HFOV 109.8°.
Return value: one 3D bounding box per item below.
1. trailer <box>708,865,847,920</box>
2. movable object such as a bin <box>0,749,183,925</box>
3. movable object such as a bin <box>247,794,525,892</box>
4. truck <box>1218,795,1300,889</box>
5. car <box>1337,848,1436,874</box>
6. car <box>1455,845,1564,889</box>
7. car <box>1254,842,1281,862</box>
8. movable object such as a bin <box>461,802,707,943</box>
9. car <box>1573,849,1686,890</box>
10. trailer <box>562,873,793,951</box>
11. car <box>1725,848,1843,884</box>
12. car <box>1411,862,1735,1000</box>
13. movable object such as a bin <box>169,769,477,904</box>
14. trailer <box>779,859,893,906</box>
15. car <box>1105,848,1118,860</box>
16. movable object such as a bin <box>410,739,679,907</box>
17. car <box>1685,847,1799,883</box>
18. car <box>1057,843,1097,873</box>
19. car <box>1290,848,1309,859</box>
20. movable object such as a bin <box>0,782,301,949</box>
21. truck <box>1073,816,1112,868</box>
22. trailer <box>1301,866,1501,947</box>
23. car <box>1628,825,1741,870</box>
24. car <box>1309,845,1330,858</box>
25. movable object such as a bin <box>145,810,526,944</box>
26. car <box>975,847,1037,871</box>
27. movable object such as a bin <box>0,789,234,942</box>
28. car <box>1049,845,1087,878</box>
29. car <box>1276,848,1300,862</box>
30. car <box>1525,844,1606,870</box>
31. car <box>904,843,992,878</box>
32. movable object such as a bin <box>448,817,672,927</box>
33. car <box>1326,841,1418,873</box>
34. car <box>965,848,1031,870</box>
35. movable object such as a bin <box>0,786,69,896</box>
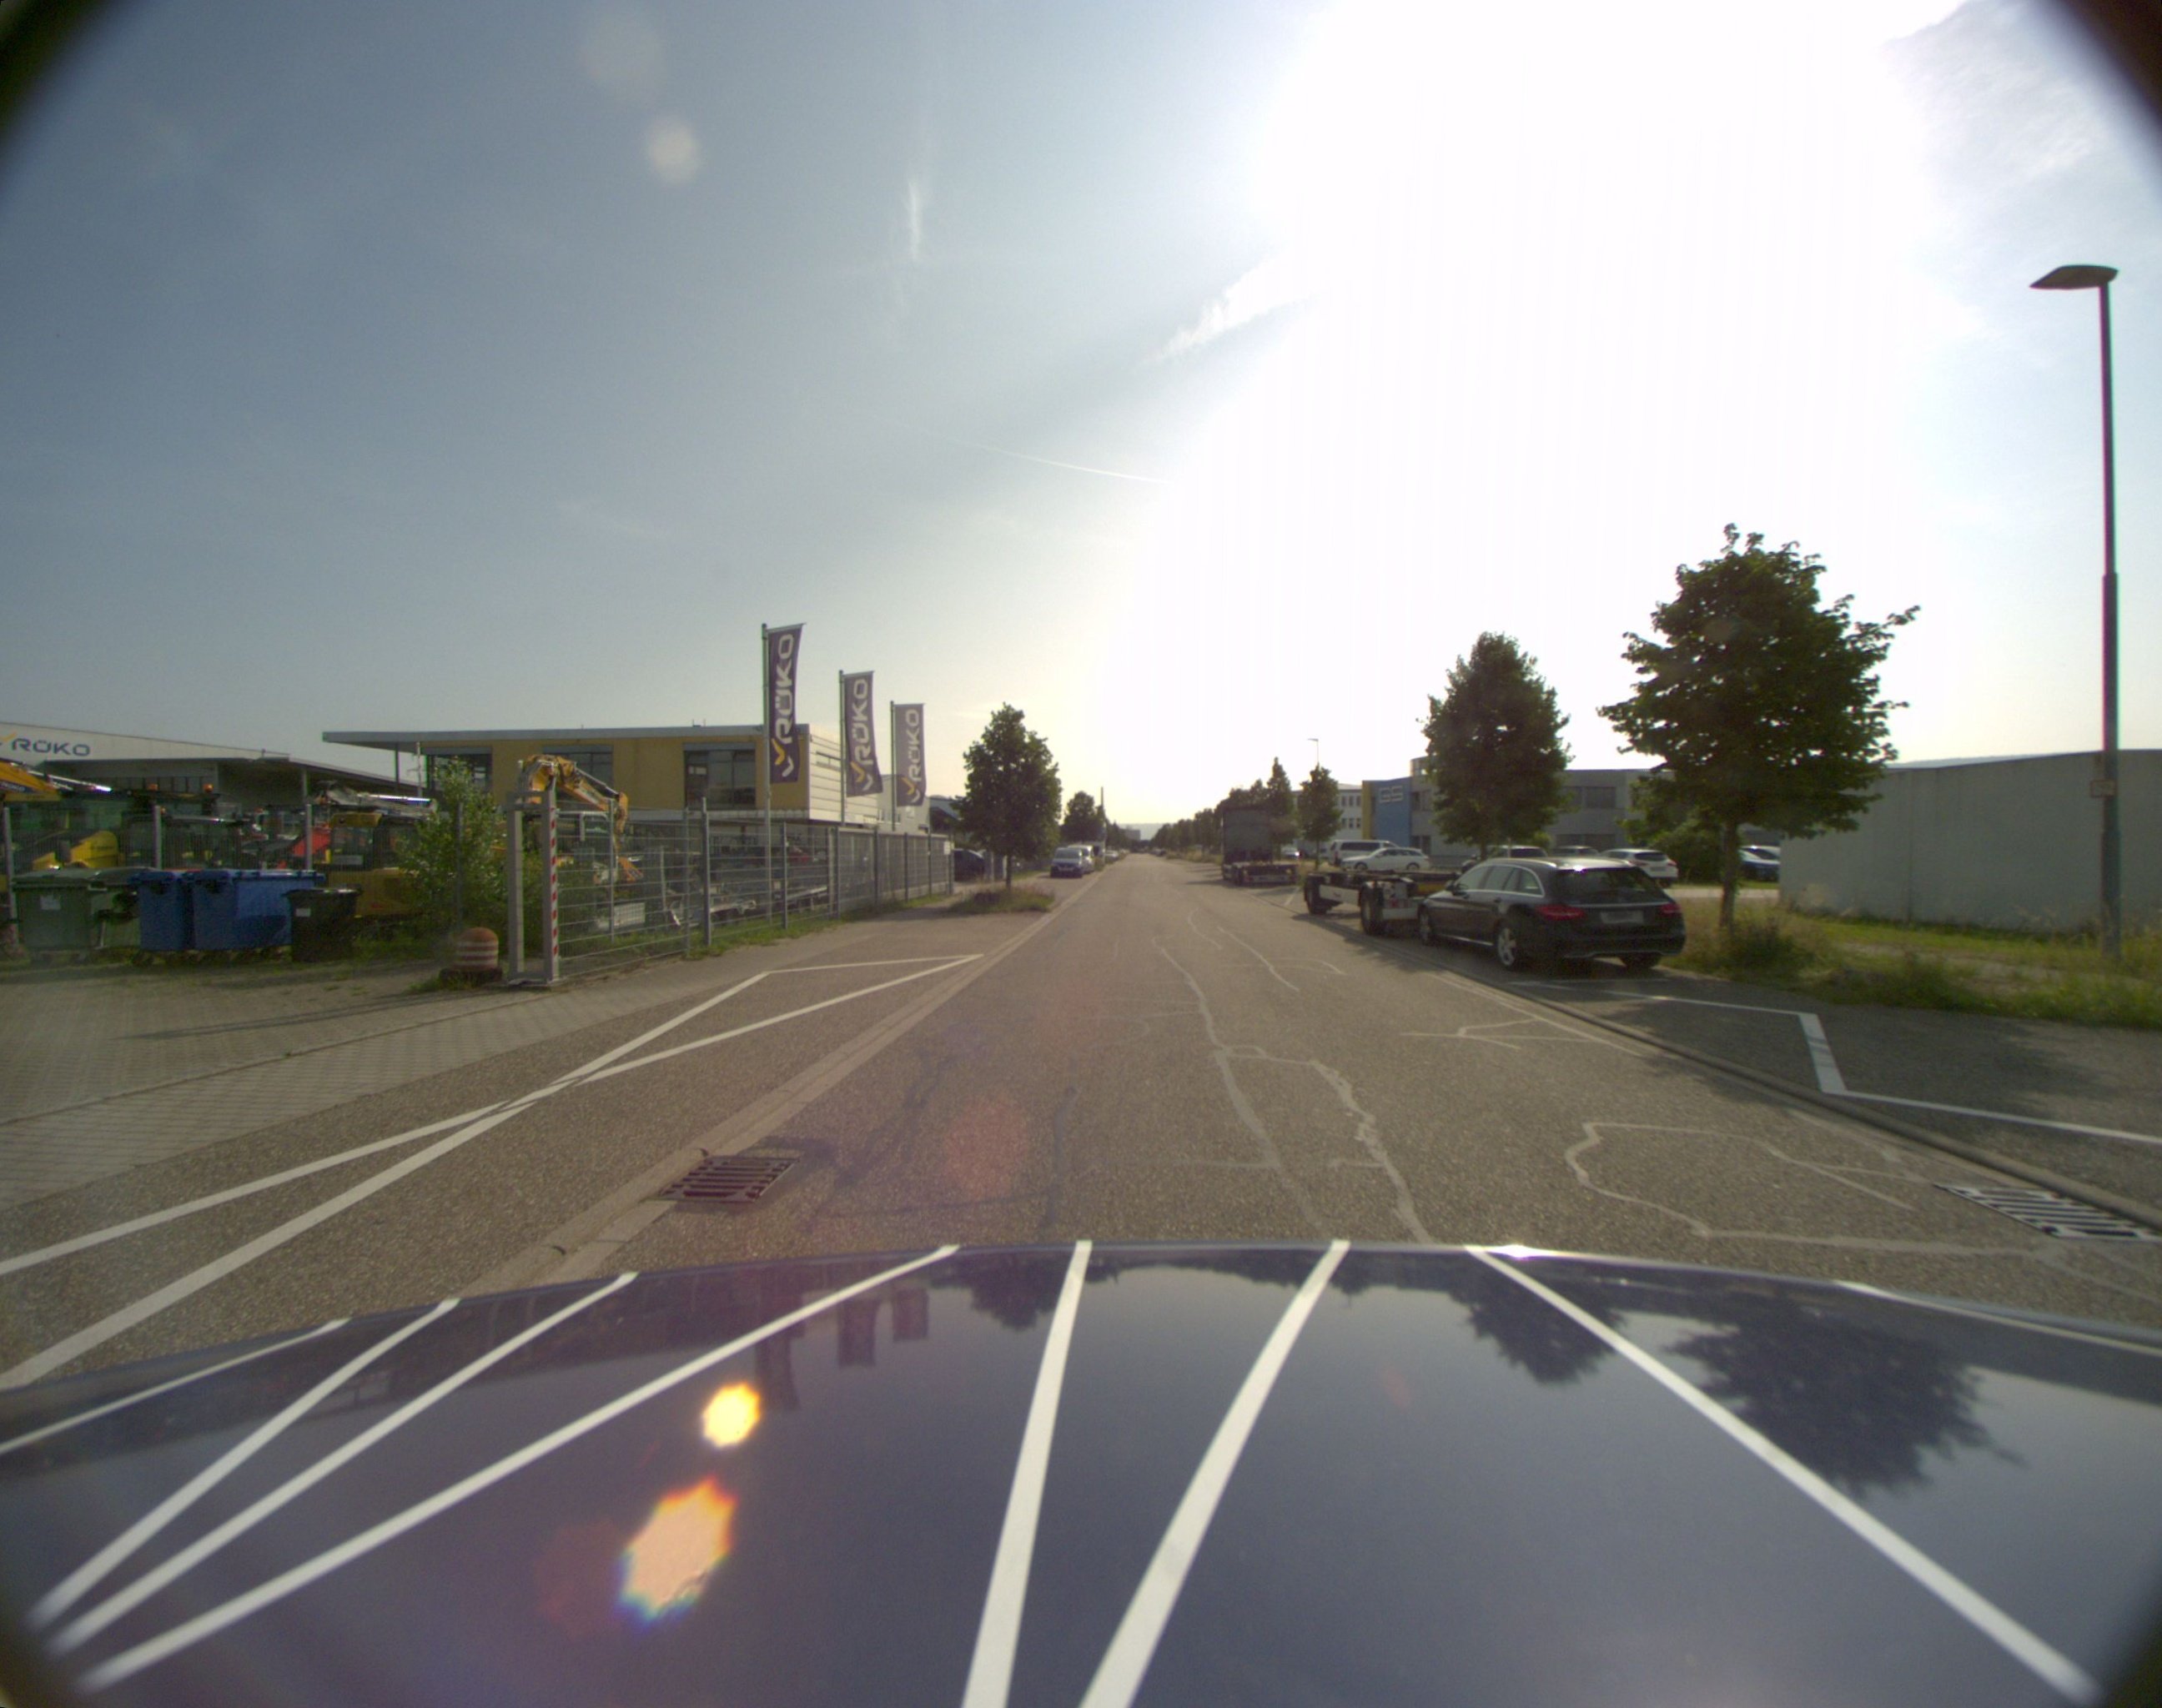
[{"bbox_3d":[-8.191,0.993,21.002,1.948,1.236,4.294,0,1,3],"label":"trailer"},{"bbox_3d":[-24.959,-0.363,16.984,2.689,3.851,5.719,0,1,5],"label":"movable object such as a bin"},{"bbox_3d":[-21.584,-0.332,24.215,2.706,2.700,6.351,0,0,5],"label":"movable object such as a bin"},{"bbox_3d":[8.307,-0.616,36.646,2.460,3.859,9.804,-2,1,6],"label":"truck"},{"bbox_3d":[17.042,0.375,42.581,4.737,1.423,2.000,-1,1,4],"label":"car"},{"bbox_3d":[17.403,0.467,31.185,1.998,1.677,4.699,0,1,3],"label":"car"},{"bbox_3d":[19.487,-0.243,79.435,1.886,2.002,4.992,0,0,4],"label":"car"},{"bbox_3d":[-10.960,0.338,17.393,1.891,2.736,5.161,0,1,5],"label":"movable object such as a bin"},{"bbox_3d":[22.255,0.587,31.038,1.709,1.507,4.213,1,1,3],"label":"car"},{"bbox_3d":[-8.195,1.103,16.092,2.131,1.236,4.796,0,1,3],"label":"trailer"},{"bbox_3d":[32.534,0.507,35.337,1.709,1.507,4.213,1,1,3],"label":"car"},{"bbox_3d":[6.531,0.906,10.830,1.998,1.458,4.433,-2,0,5],"label":"car"},{"bbox_3d":[-24.764,-0.516,25.561,2.925,3.906,7.208,0,0,3],"label":"movable object such as a bin"},{"bbox_3d":[-8.131,0.901,25.745,1.998,1.303,4.564,-1,2,5],"label":"trailer"},{"bbox_3d":[4.291,-0.009,106.909,1.668,1.495,3.542,2,1,4],"label":"car"},{"bbox_3d":[-17.373,-0.893,25.564,3.324,4.778,7.674,0,0,3],"label":"movable object such as a bin"},{"bbox_3d":[30.448,0.469,35.184,1.709,1.507,4.213,1,1,3],"label":"car"},{"bbox_3d":[-0.192,0.217,48.063,1.998,1.779,4.600,-1,2,5],"label":"car"},{"bbox_3d":[29.133,-0.120,101.237,1.758,1.459,3.919,0,1,5],"label":"car"},{"bbox_3d":[-19.878,0.189,16.008,1.997,3.014,4.493,0,1,5],"label":"movable object such as a bin"},{"bbox_3d":[1.082,-0.985,64.660,2.752,3.992,9.688,2,1,4],"label":"truck"},{"bbox_3d":[6.592,0.975,16.800,2.134,1.225,7.160,-2,0,7],"label":"trailer"},{"bbox_3d":[37.855,-0.447,47.927,1.711,2.679,5.744,-1,1,-13],"label":"car"},{"bbox_3d":[31.719,-0.335,101.005,1.909,1.609,3.919,0,1,5],"label":"car"},{"bbox_3d":[-15.848,0.391,16.805,2.928,2.477,5.340,0,1,5],"label":"movable object such as a bin"},{"bbox_3d":[-5.022,0.347,51.192,3.997,1.469,1.790,-2,1,-1],"label":"car"},{"bbox_3d":[-22.163,0.216,16.680,1.997,3.014,4.374,0,1,5],"label":"movable object such as a bin"},{"bbox_3d":[-0.681,0.372,43.437,1.830,1.710,4.249,-1,2,3],"label":"car"},{"bbox_3d":[24.215,0.052,89.017,1.946,1.597,4.510,0,1,4],"label":"car"},{"bbox_3d":[30.287,0.170,47.632,1.580,1.473,4.519,0,2,-11],"label":"car"},{"bbox_3d":[-6.844,0.301,39.424,4.236,1.727,1.898,-1,1,-3],"label":"car"},{"bbox_3d":[-12.989,0.374,19.439,1.996,2.444,4.766,0,1,8],"label":"movable object such as a bin"},{"bbox_3d":[17.267,0.156,45.297,4.714,1.825,2.103,0,1,4],"label":"car"},{"bbox_3d":[-5.237,0.311,48.514,3.997,1.363,1.790,0,1,0],"label":"car"},{"bbox_3d":[-39.964,-0.449,25.917,2.724,3.907,6.022,0,1,0],"label":"movable object such as a bin"}]
